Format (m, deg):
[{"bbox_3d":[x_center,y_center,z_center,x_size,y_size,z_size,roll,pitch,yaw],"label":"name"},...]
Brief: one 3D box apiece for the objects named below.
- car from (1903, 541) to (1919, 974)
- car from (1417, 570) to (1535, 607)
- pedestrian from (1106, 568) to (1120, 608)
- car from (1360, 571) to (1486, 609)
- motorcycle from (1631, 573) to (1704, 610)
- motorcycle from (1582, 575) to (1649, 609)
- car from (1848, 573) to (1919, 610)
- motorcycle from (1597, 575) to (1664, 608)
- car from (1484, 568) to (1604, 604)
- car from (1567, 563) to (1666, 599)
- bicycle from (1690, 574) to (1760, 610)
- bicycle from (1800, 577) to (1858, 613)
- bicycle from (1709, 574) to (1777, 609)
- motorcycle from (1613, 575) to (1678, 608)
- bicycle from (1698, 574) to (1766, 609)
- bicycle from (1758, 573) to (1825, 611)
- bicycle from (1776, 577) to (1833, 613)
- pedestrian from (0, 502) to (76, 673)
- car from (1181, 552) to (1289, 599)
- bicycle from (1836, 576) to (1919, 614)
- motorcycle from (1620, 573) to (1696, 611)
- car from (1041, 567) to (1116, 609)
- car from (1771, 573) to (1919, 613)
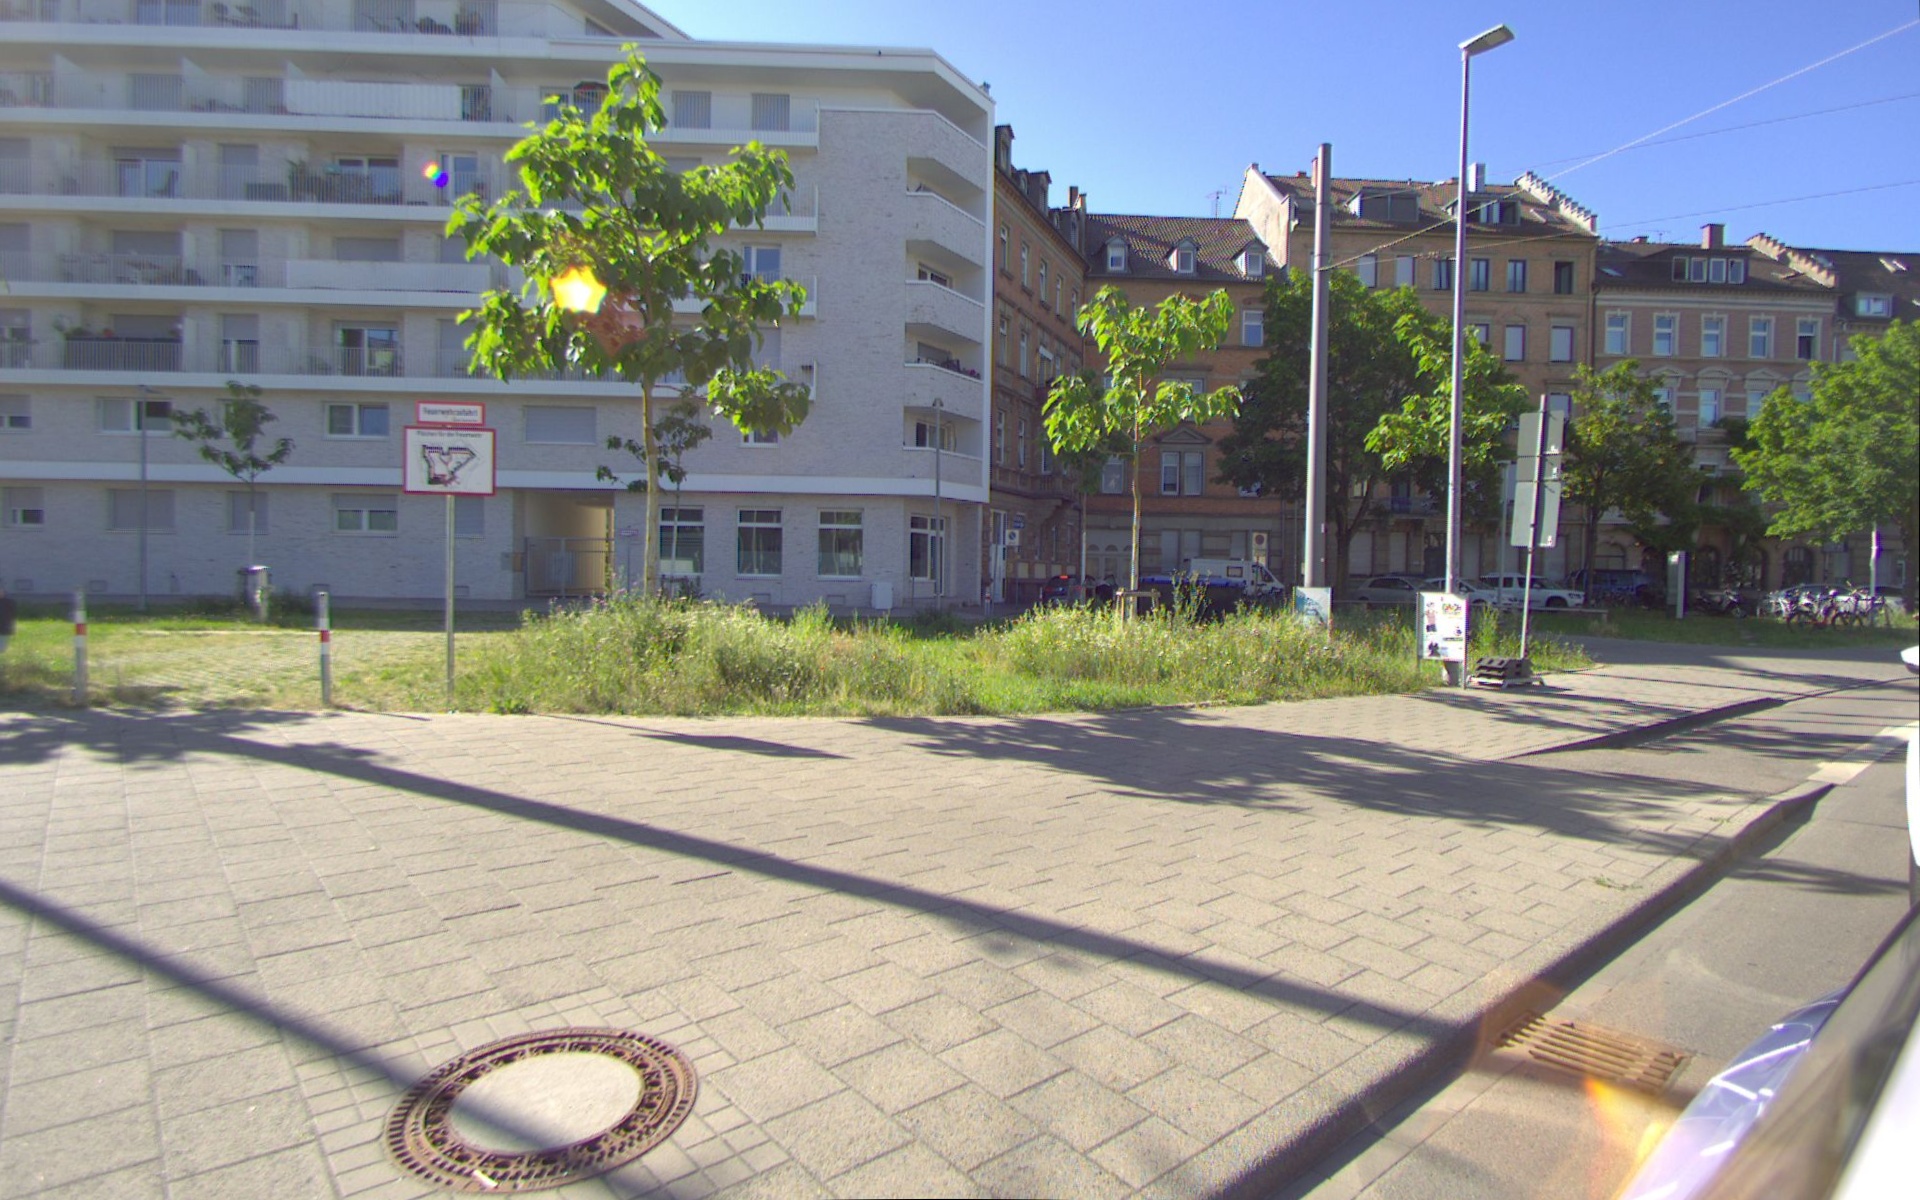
[{"bbox_3d":[5.865,0.607,4.718,4.323,1.667,1.840,0,0,-43],"label":"car"},{"bbox_3d":[19.668,-0.465,38.719,1.648,1.267,3.709,0,3,-28],"label":"car"},{"bbox_3d":[5.748,-0.456,37.906,0.500,1.474,0.480,0,0,11],"label":"pedestrian"},{"bbox_3d":[17.345,-0.419,38.109,1.648,1.267,4.170,0,3,-28],"label":"car"},{"bbox_3d":[26.150,-0.319,37.470,0.649,1.339,2.208,0,0,-23],"label":"motorcycle"},{"bbox_3d":[26.022,-0.326,40.227,0.649,1.293,2.324,0,0,-18],"label":"motorcycle"},{"bbox_3d":[37.818,-0.328,39.963,1.649,1.423,3.832,-1,3,-32],"label":"car"},{"bbox_3d":[26.693,-0.334,40.358,0.649,1.300,2.324,0,0,-18],"label":"motorcycle"},{"bbox_3d":[22.325,-0.576,38.775,1.513,1.267,3.700,-1,3,-39],"label":"car"},{"bbox_3d":[30.871,-0.918,47.651,3.631,1.607,1.552,1,2,0],"label":"car"},{"bbox_3d":[28.366,-0.309,37.566,0.649,1.284,2.208,0,0,-11],"label":"bicycle"},{"bbox_3d":[32.031,-0.192,37.335,0.653,1.284,2.196,0,0,12],"label":"bicycle"},{"bbox_3d":[29.720,-0.324,38.465,0.649,1.284,2.208,0,0,-9],"label":"bicycle"},{"bbox_3d":[27.484,-0.333,40.612,0.649,1.284,2.209,0,0,-18],"label":"motorcycle"},{"bbox_3d":[29.077,-0.318,38.153,0.649,1.284,2.208,0,0,-9],"label":"bicycle"},{"bbox_3d":[29.270,-0.291,35.675,0.651,1.284,2.202,0,0,4],"label":"bicycle"},{"bbox_3d":[30.937,-0.184,37.112,0.653,1.284,2.196,0,0,12],"label":"bicycle"},{"bbox_3d":[-10.076,-0.153,10.561,0.829,1.717,0.985,2,2,2],"label":"pedestrian"},{"bbox_3d":[12.657,-1.151,46.785,4.416,2.062,2.054,1,2,0],"label":"car"},{"bbox_3d":[31.625,-0.165,34.765,2.180,1.284,0.657,0,0,25],"label":"bicycle"},{"bbox_3d":[25.334,-0.304,36.781,0.650,1.347,2.207,0,0,-28],"label":"motorcycle"},{"bbox_3d":[4.562,-0.502,38.299,1.811,1.444,4.359,1,2,21],"label":"car"},{"bbox_3d":[34.681,-0.319,39.594,1.651,1.423,4.324,-1,3,-38],"label":"car"}]
